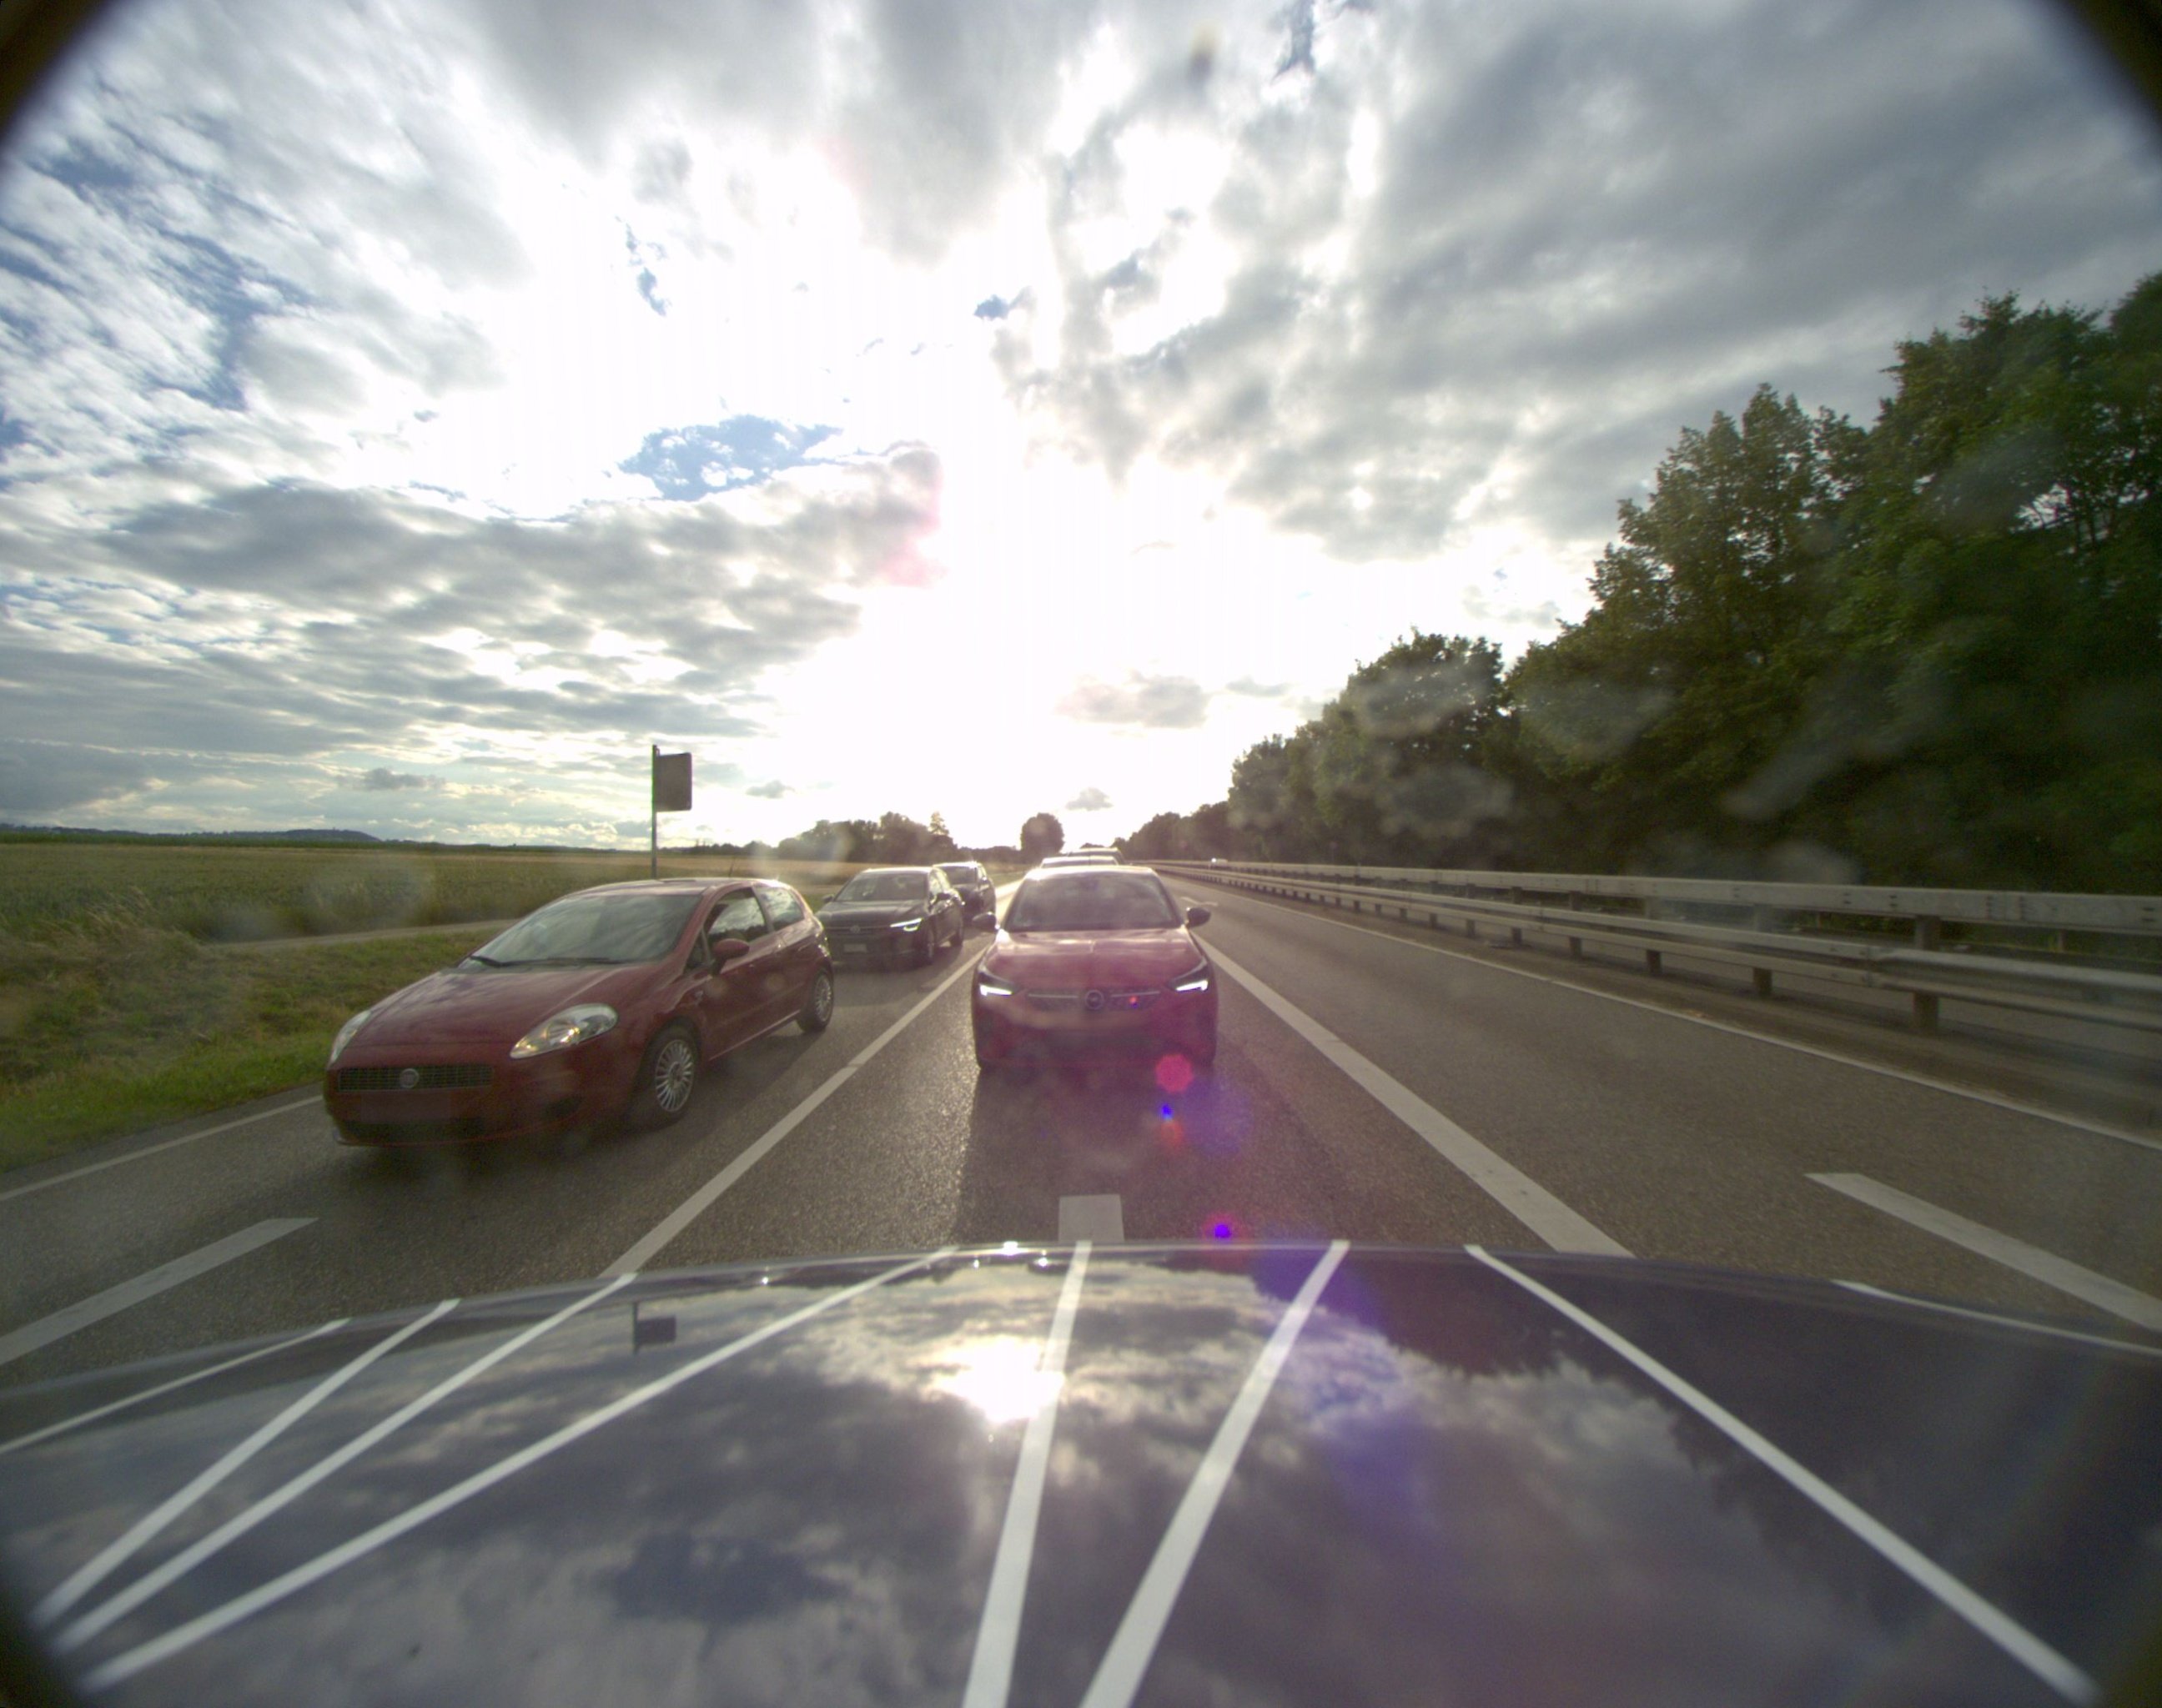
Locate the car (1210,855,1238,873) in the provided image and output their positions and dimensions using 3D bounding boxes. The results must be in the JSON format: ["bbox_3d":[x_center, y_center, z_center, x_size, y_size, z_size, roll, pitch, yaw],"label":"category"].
[{"bbox_3d":[13.883,0.961,73.789,1.949,1.652,3.999,-1,0,0],"label":"car"}]

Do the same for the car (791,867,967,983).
[{"bbox_3d":[-3.036,0.999,12.256,1.723,1.467,3.865,-2,0,0],"label":"car"}]

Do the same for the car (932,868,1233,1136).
[{"bbox_3d":[0.066,0.916,6.347,1.723,1.467,3.728,-2,0,2],"label":"car"}]

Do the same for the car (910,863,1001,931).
[{"bbox_3d":[-3.058,1.002,19.106,1.631,1.467,3.474,-2,0,1],"label":"car"}]

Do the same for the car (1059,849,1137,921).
[{"bbox_3d":[0.459,0.735,19.846,1.786,1.624,3.866,-2,0,2],"label":"car"}]

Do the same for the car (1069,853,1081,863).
[{"bbox_3d":[-1.120,0.682,139.095,1.998,1.740,3.999,-1,1,1],"label":"car"}]

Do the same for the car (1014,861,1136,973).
[{"bbox_3d":[-0.077,0.932,13.000,1.758,1.543,3.999,0,0,0],"label":"car"}]

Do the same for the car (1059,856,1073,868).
[{"bbox_3d":[-2.135,1.151,108.307,1.949,1.652,3.999,-1,0,0],"label":"car"}]

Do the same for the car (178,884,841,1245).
[{"bbox_3d":[-3.243,1.048,5.422,1.669,1.467,3.866,-2,0,2],"label":"car"}]
